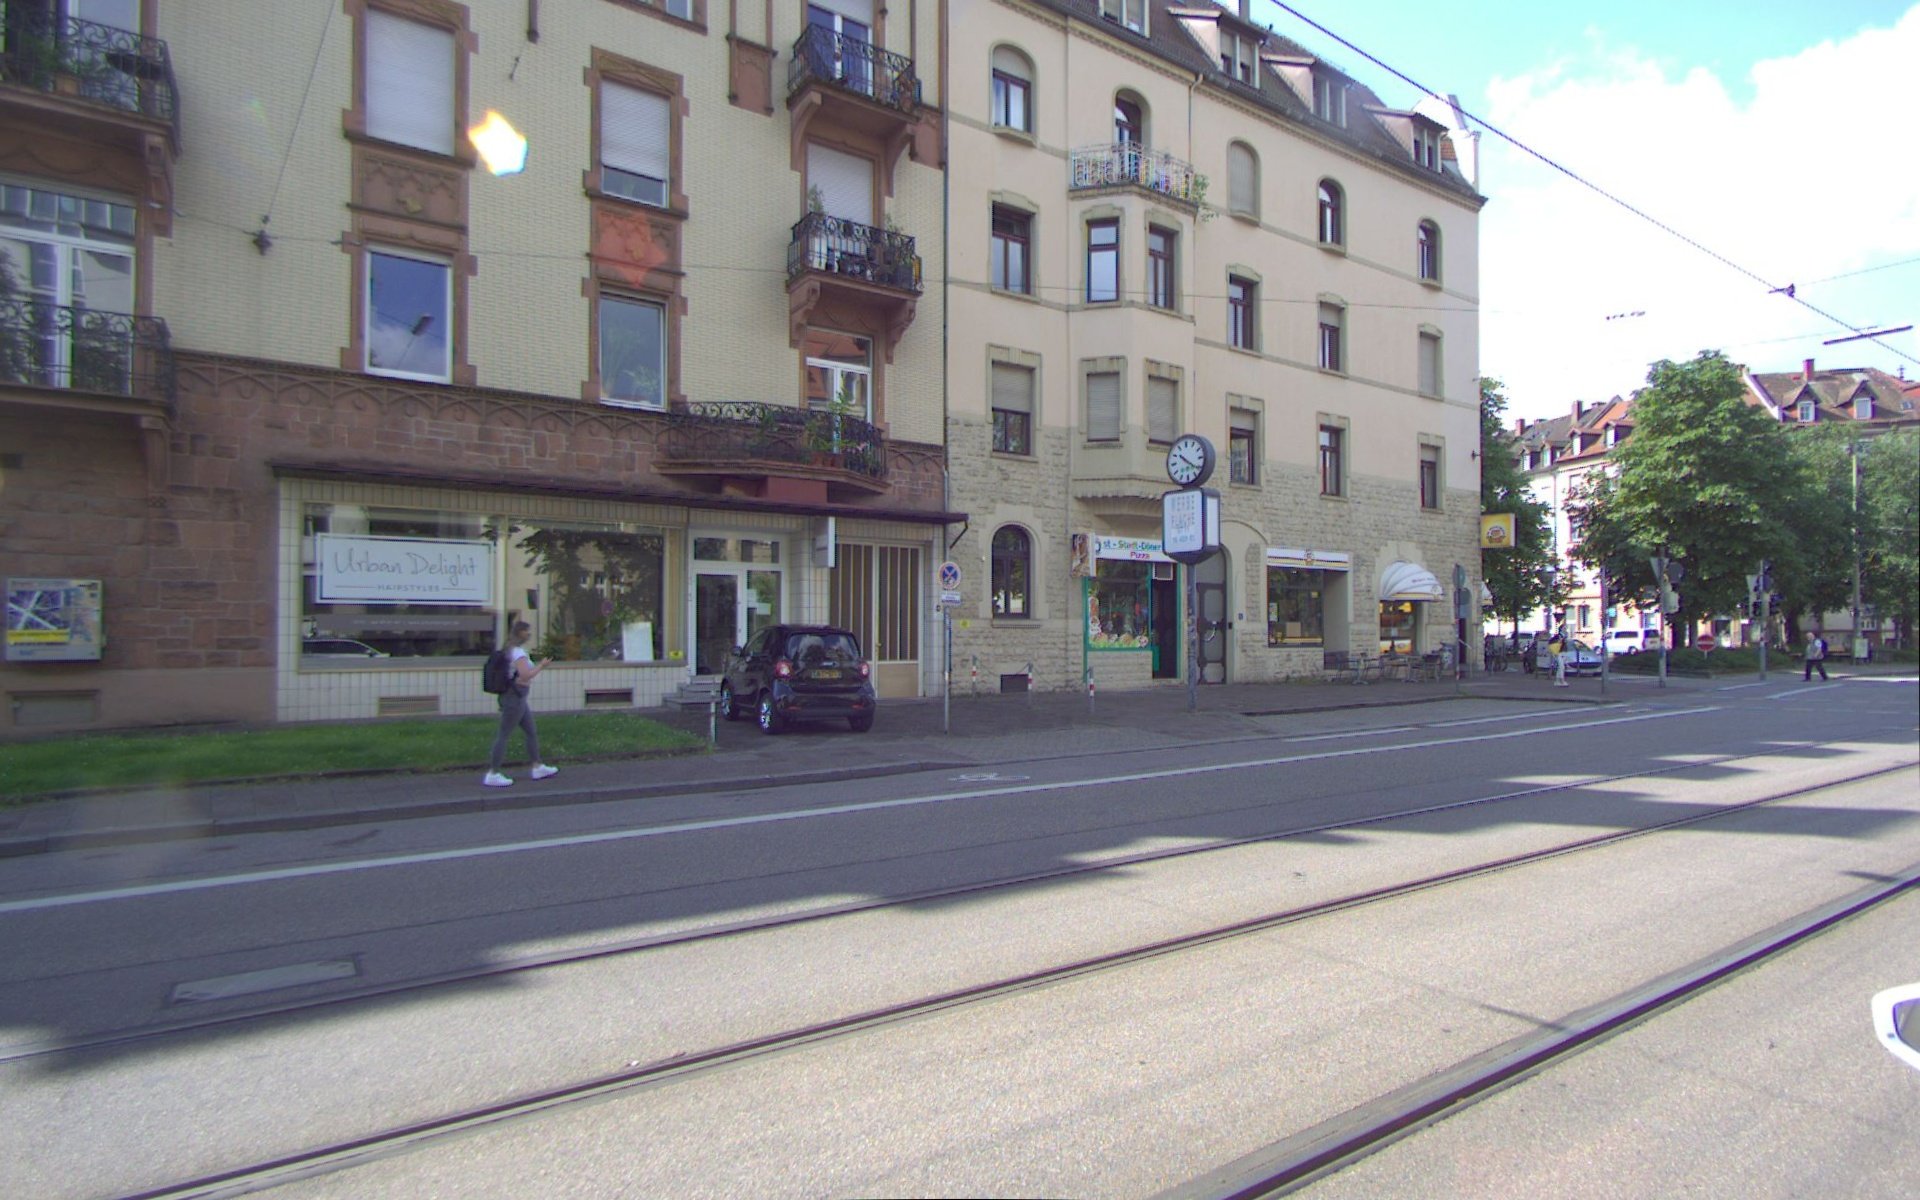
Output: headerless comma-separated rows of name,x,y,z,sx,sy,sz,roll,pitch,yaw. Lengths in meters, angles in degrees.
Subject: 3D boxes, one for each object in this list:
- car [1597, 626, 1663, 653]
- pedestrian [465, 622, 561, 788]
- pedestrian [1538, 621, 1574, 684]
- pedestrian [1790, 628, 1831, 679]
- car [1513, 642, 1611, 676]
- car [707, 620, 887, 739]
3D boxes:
car,49.722,2.944,74.611,1.962,1.929,3.997,0,-2,-5
pedestrian,-4.459,1.004,10.010,0.757,1.561,0.752,1,-2,-32
pedestrian,17.010,1.489,28.671,0.795,1.777,0.677,1,-2,-41
pedestrian,29.472,1.838,34.819,0.708,1.728,0.821,1,-1,-18
car,23.542,2.282,39.440,1.645,1.198,4.002,0,-2,4
car,-2.598,1.133,15.519,1.716,1.505,3.162,1,1,-30
